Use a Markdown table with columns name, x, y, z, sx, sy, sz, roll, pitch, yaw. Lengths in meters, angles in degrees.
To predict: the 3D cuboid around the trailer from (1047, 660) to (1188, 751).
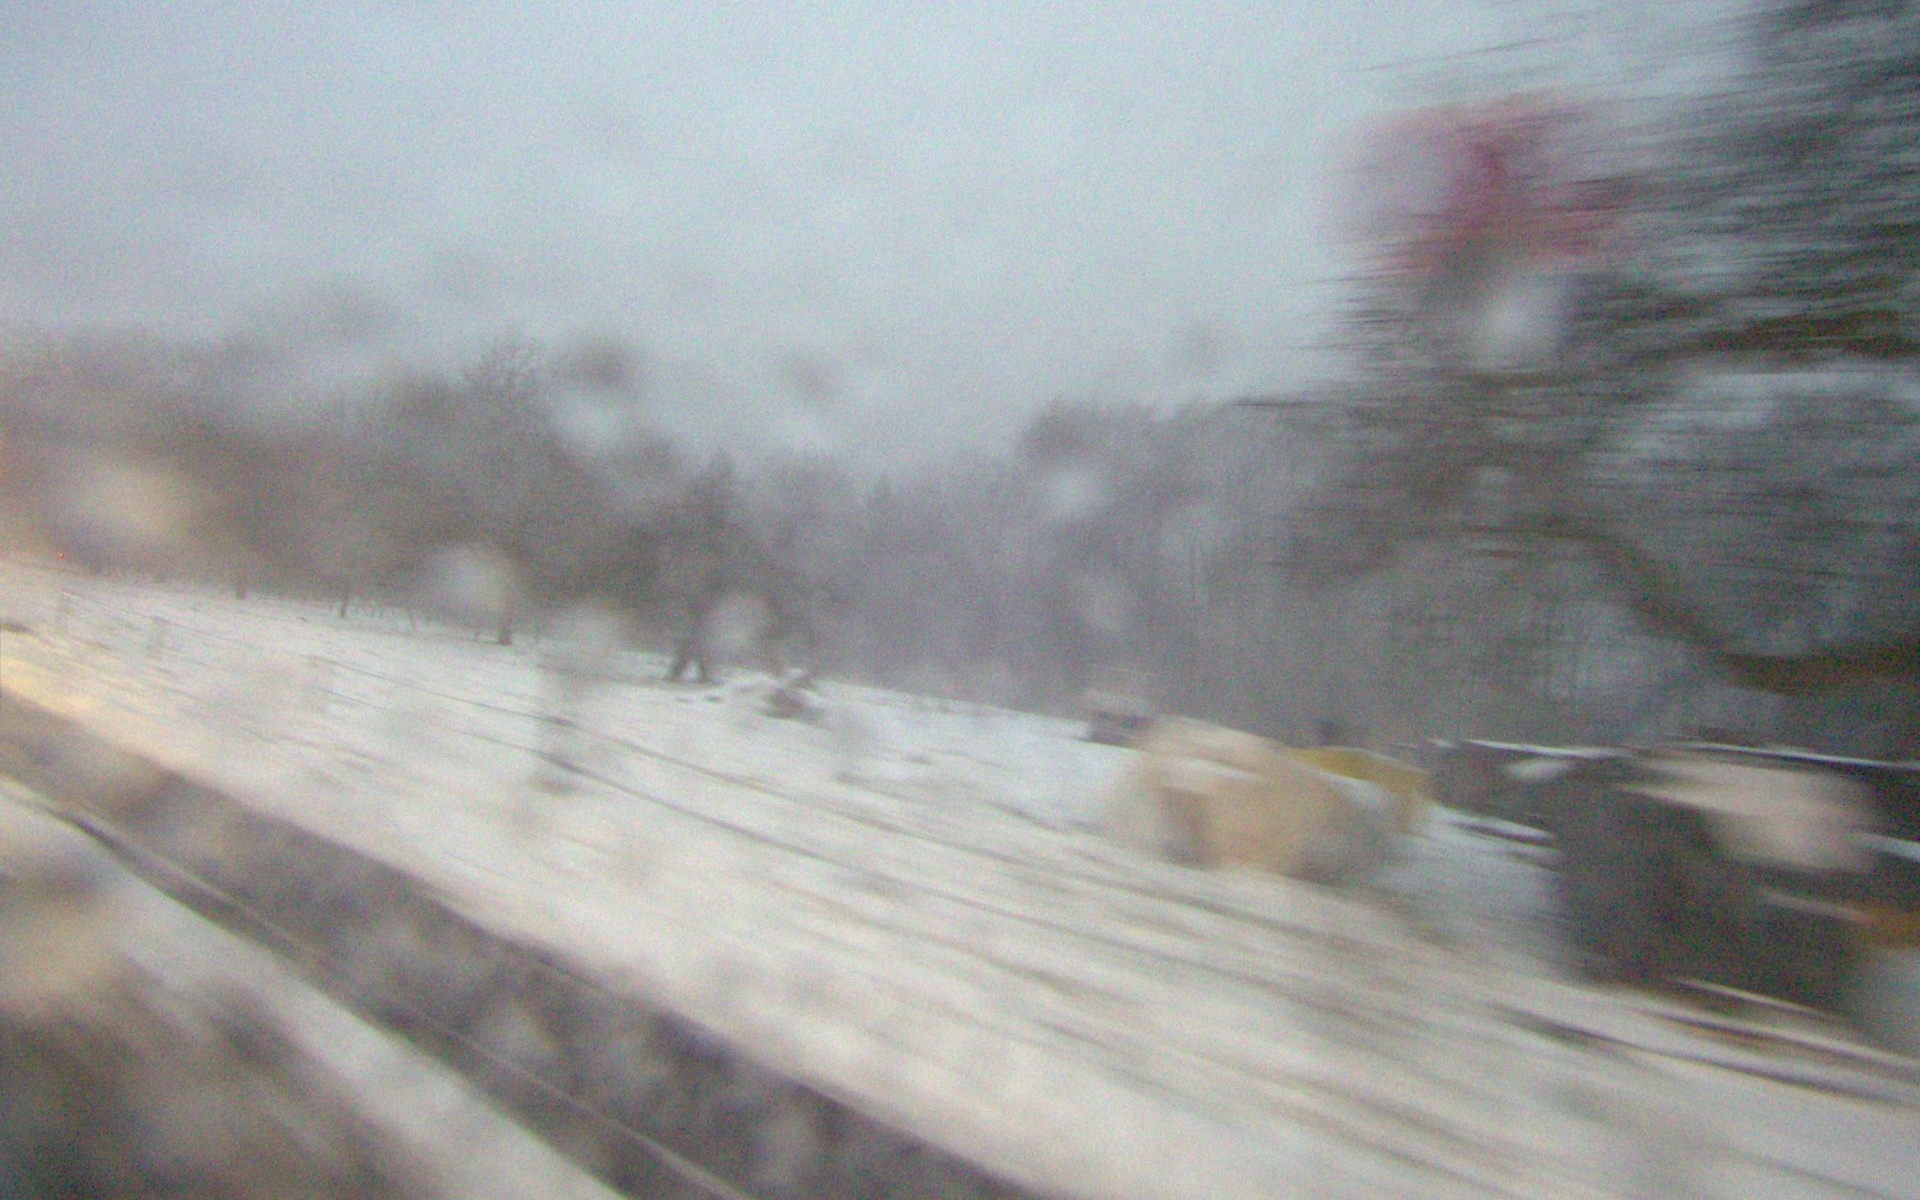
| name | x | y | z | sx | sy | sz | roll | pitch | yaw |
| --- | --- | --- | --- | --- | --- | --- | --- | --- | --- |
| trailer | 4.443 | 2.928 | 27.628 | 2.185 | 1.963 | 4.757 | 8 | -3 | 28 |

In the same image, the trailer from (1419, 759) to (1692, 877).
| name | x | y | z | sx | sy | sz | roll | pitch | yaw |
| --- | --- | --- | --- | --- | --- | --- | --- | --- | --- |
| trailer | 9.690 | 3.535 | 16.727 | 3.596 | 0.957 | 1.848 | 8 | 0 | 23 |
